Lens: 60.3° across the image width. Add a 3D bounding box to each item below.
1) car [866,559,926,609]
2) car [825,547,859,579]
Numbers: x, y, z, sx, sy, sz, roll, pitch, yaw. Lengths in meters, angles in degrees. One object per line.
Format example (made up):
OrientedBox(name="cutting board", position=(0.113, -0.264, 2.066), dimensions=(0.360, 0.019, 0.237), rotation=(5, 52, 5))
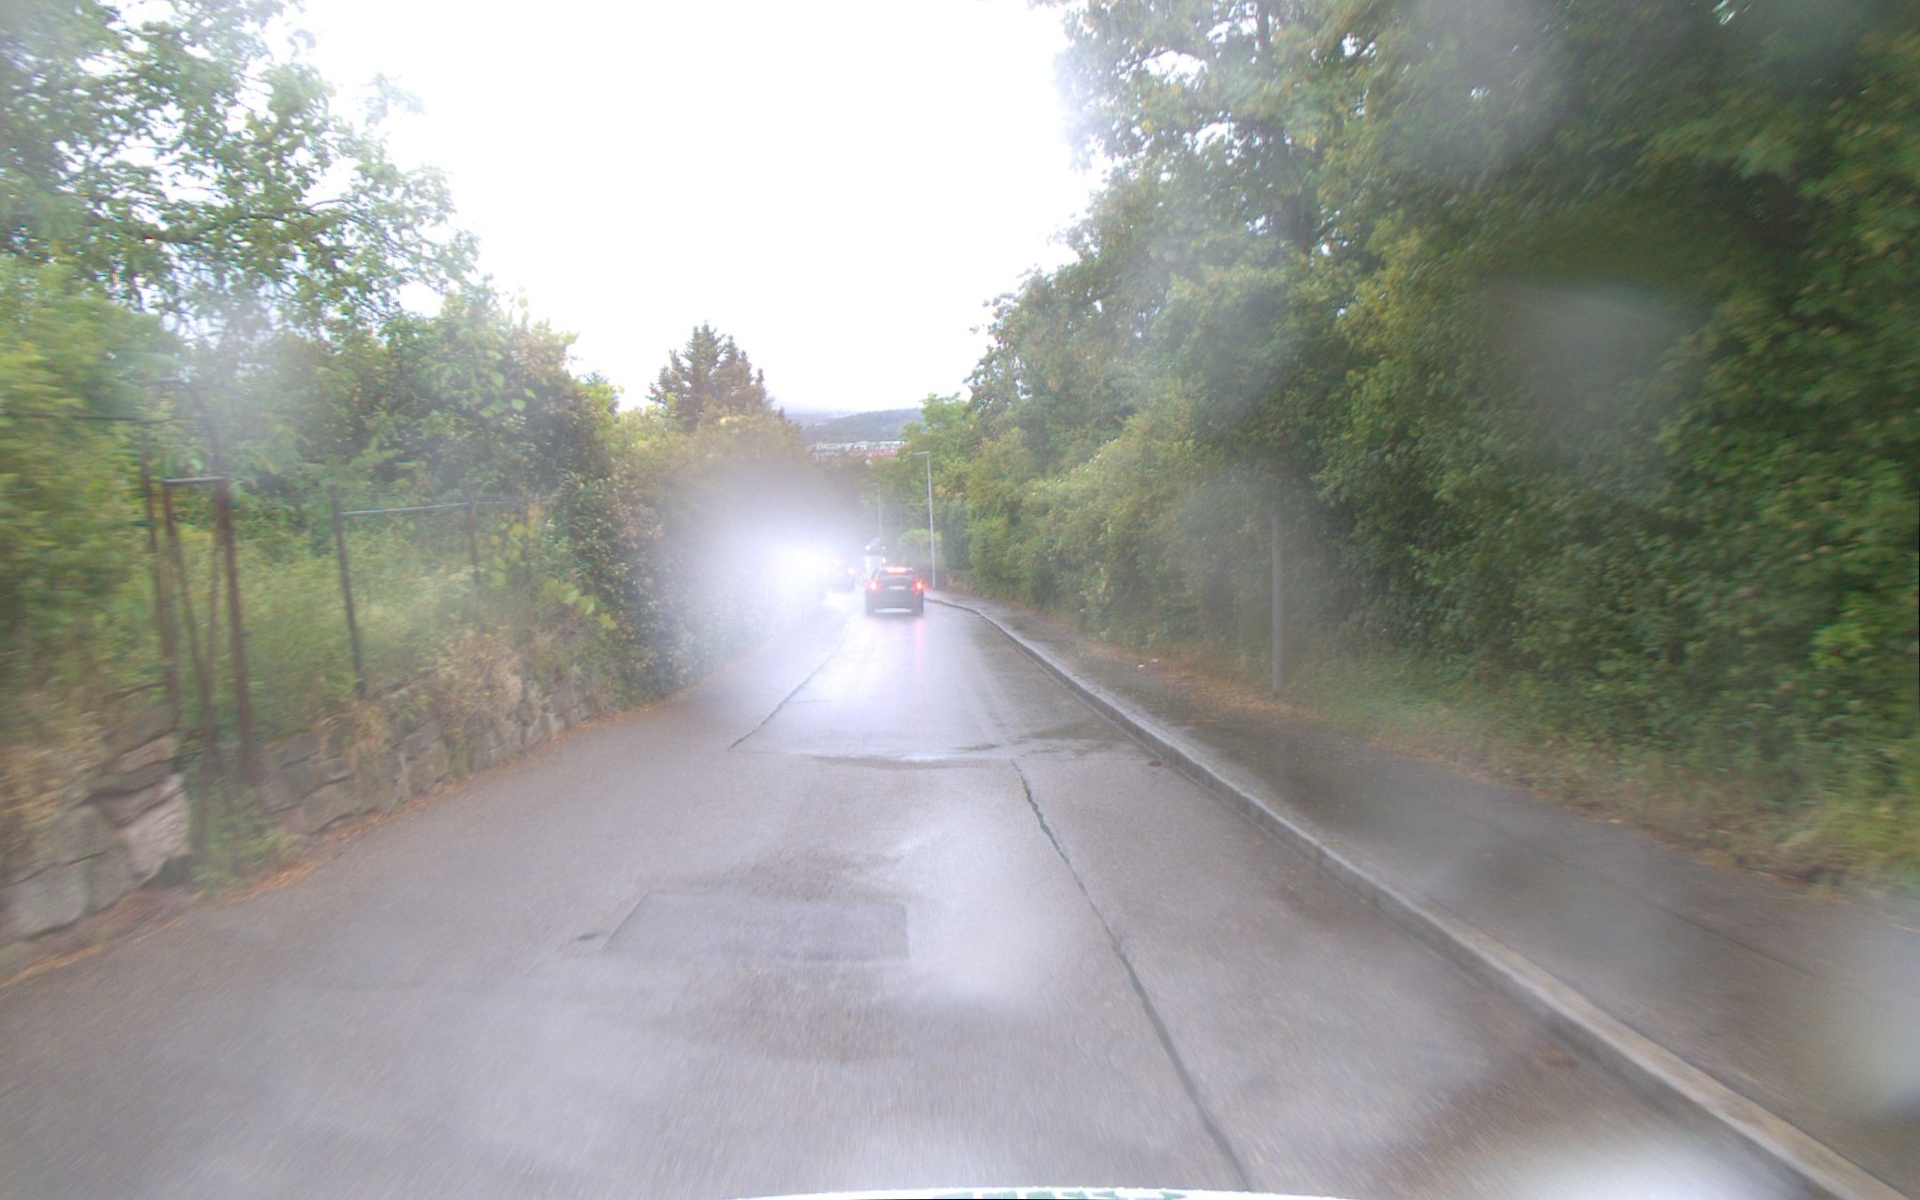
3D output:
OrientedBox(name="car", position=(-2.035, -0.513, 52.043), dimensions=(1.798, 1.489, 3.998), rotation=(1, 1, -3))
OrientedBox(name="car", position=(-6.242, -1.966, 87.804), dimensions=(1.644, 1.592, 3.794), rotation=(0, 3, -2))
